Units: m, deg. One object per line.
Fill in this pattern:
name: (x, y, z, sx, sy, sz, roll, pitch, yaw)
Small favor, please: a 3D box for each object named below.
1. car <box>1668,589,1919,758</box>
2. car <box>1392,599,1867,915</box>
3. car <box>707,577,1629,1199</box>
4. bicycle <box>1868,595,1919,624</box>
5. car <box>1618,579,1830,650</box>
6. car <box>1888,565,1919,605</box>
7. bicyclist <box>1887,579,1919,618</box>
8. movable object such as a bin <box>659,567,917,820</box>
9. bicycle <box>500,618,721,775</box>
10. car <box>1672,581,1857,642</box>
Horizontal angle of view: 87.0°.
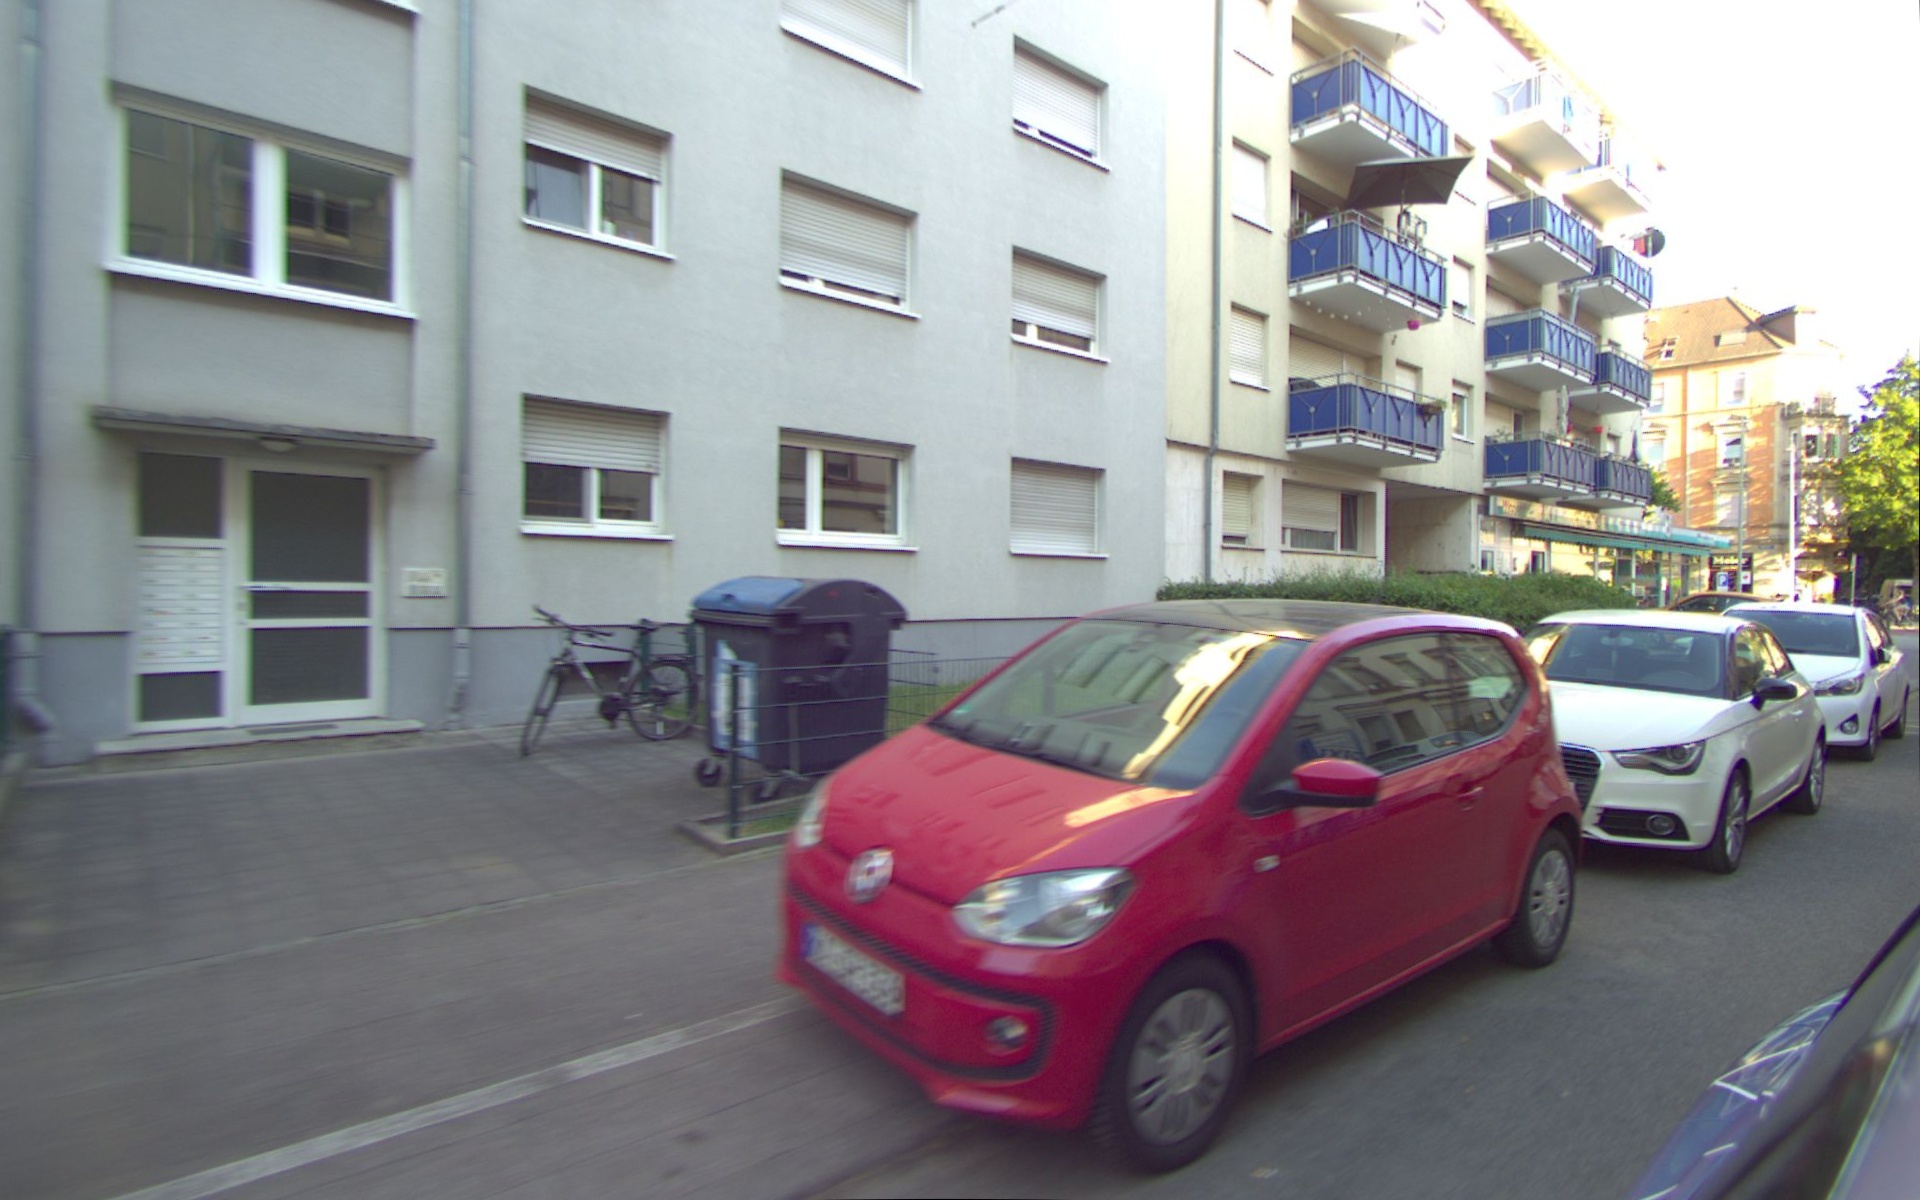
car: (9.257, 0.634, 10.983, 4.065, 1.437, 1.679, -1, 2, -42)
car: (4.734, 0.766, 6.914, 4.064, 1.437, 1.679, -1, 2, -41)
car: (1.050, 0.676, 3.933, 3.589, 1.501, 1.679, -1, 2, -41)
bicycle: (41.064, 0.409, 44.082, 2.086, 1.183, 0.720, 1, 2, 26)
car: (19.296, 0.301, 25.662, 1.966, 1.584, 3.993, -1, 2, -42)
car: (57.408, -0.907, 60.415, 2.149, 2.311, 6.130, 2, 2, 35)
bicyclist: (41.130, -0.073, 44.019, 0.963, 1.693, 0.794, 1, 1, 25)
movable object such as a bin: (-1.154, 0.515, 6.701, 1.202, 1.454, 1.287, -1, 1, -41)
bicycle: (-2.890, 0.746, 8.522, 0.599, 1.104, 1.716, 2, 2, 38)
car: (23.592, 0.280, 29.777, 1.966, 1.584, 3.993, -1, 2, -42)
